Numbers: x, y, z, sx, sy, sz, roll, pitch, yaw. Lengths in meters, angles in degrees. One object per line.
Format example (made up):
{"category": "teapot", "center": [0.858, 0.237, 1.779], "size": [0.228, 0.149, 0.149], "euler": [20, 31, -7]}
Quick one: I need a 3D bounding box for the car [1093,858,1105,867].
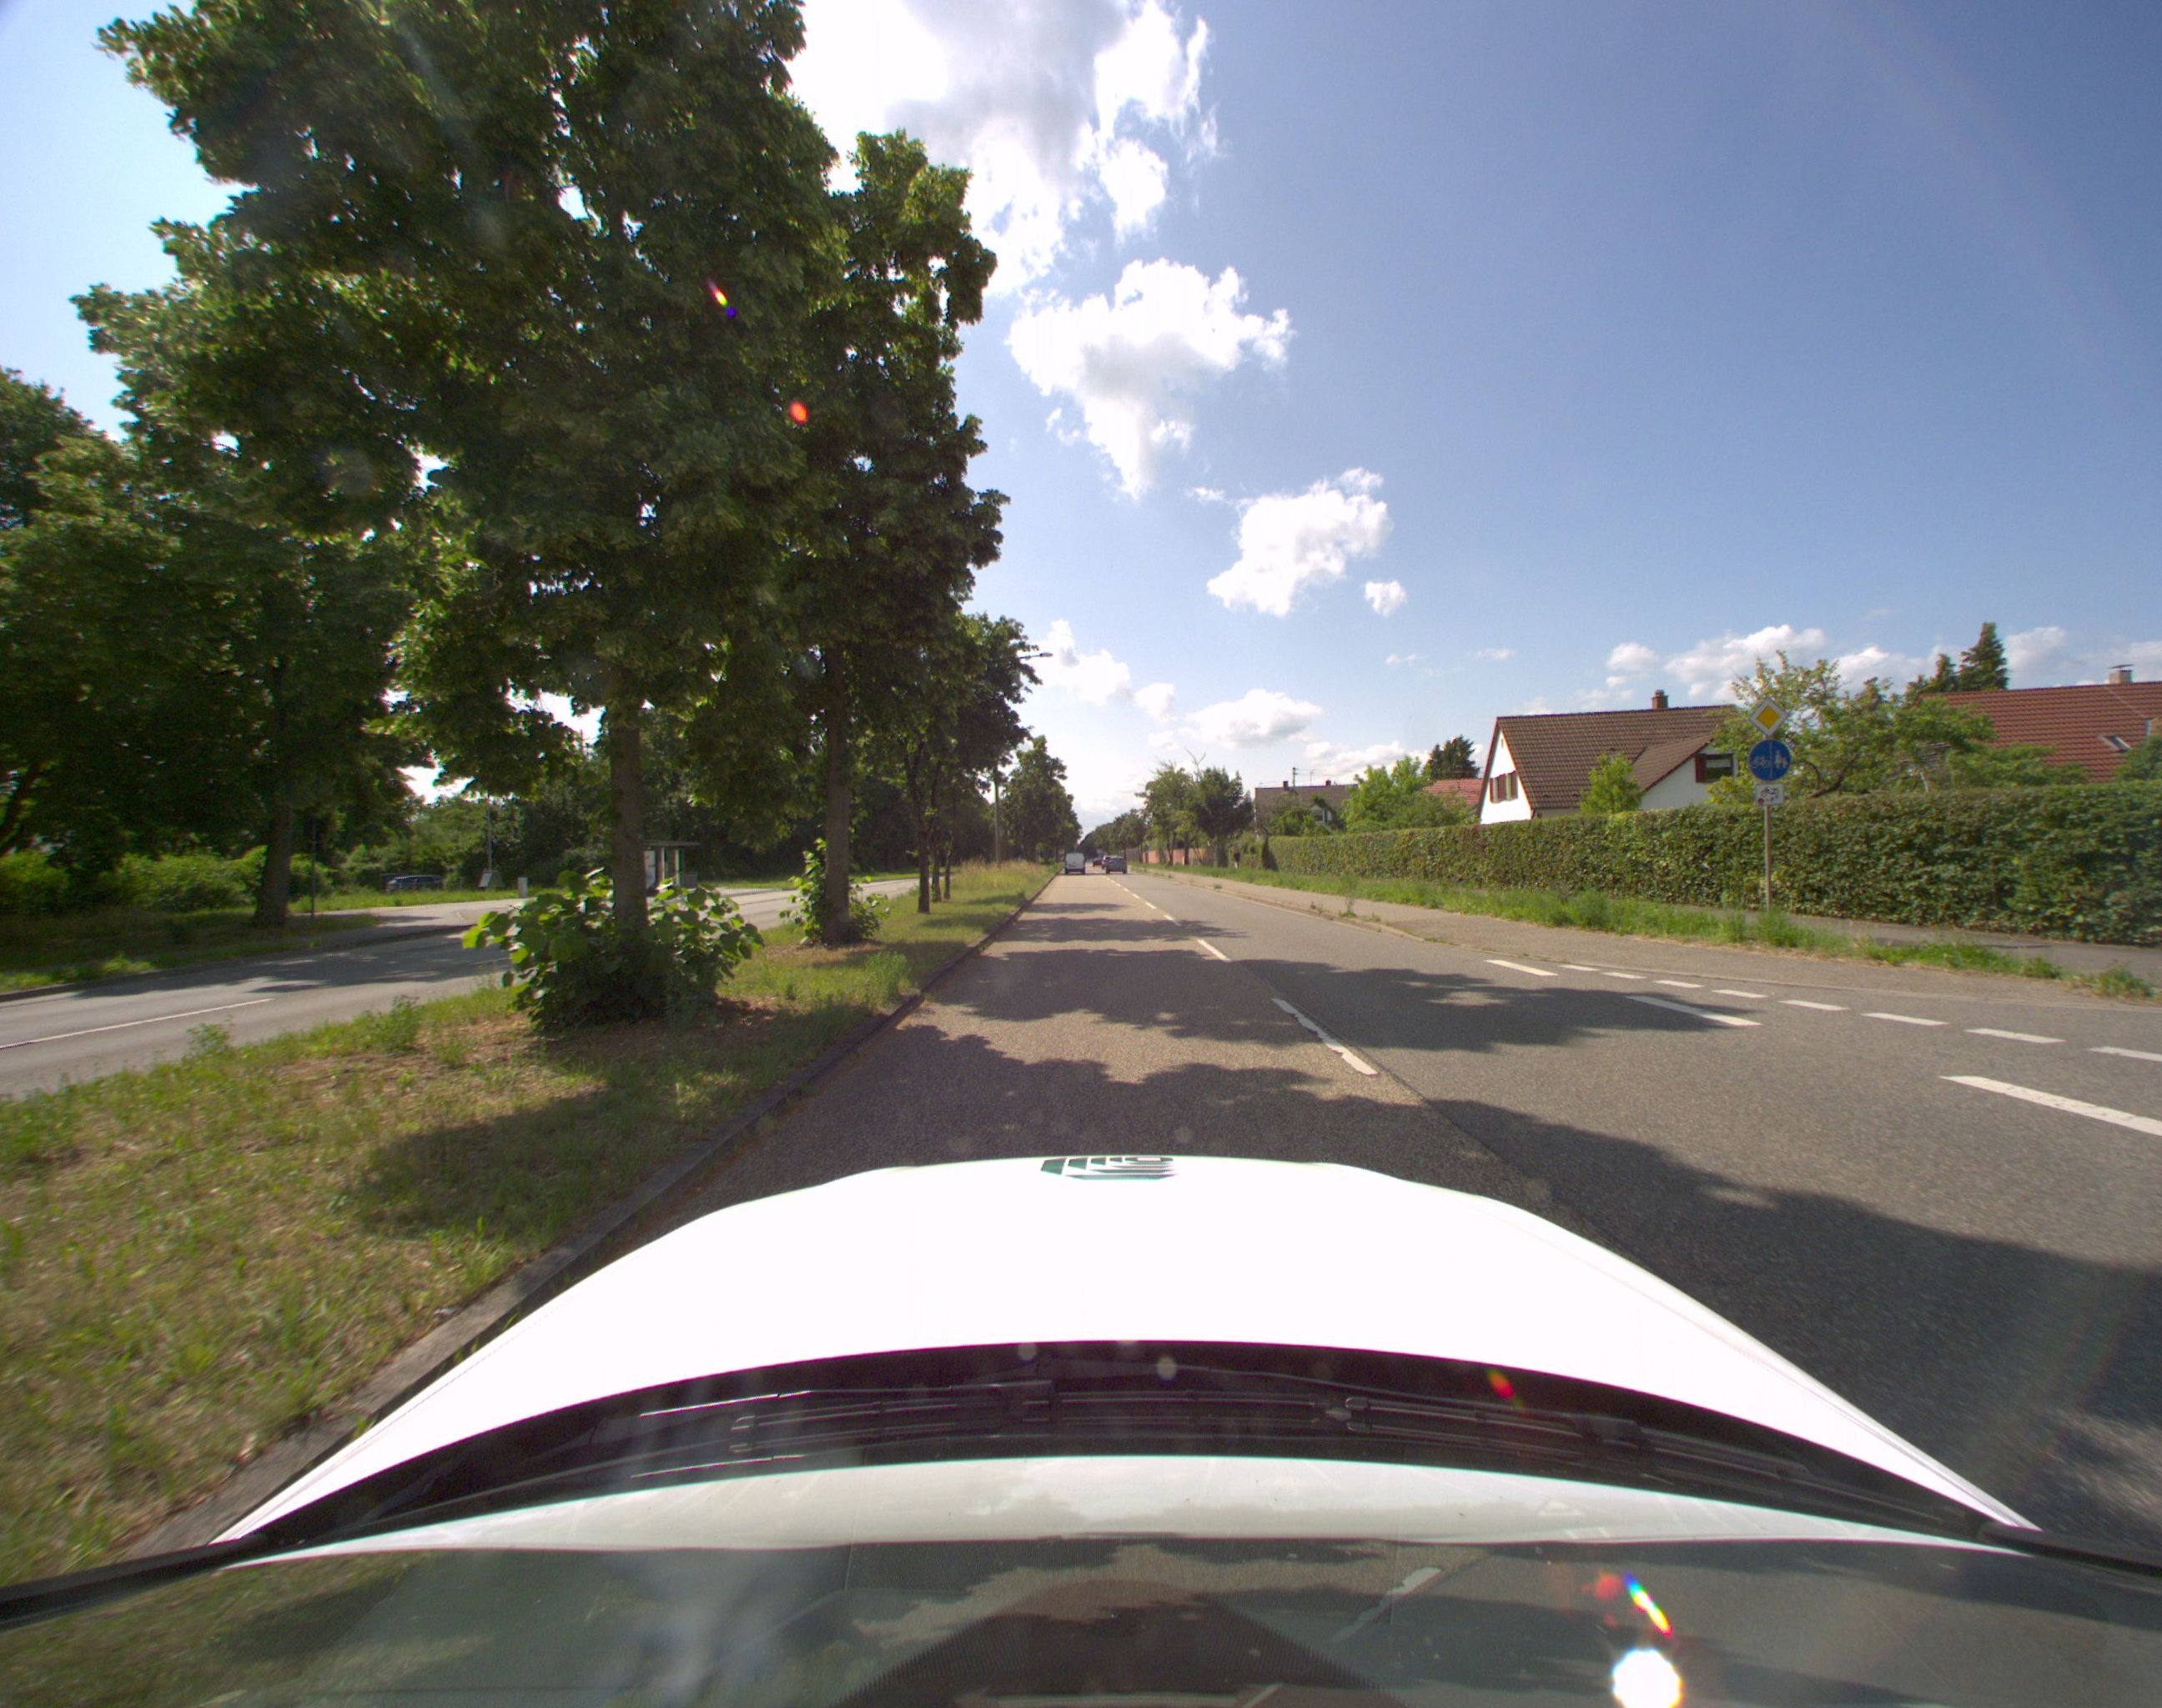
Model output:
{"category": "car", "center": [2.937, 1.405, 136.545], "size": [1.874, 1.587, 3.999], "euler": [-1, 0, -1]}

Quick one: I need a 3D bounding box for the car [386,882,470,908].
{"category": "car", "center": [-43.818, 2.716, 54.728], "size": [1.737, 1.508, 4.026], "euler": [-1, 0, 35]}

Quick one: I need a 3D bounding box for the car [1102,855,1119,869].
{"category": "car", "center": [3.575, 0.980, 98.721], "size": [1.869, 1.652, 3.999], "euler": [-1, -1, 0]}

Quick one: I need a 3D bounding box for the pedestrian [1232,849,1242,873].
{"category": "pedestrian", "center": [11.222, 0.521, 58.712], "size": [0.558, 1.677, 0.634], "euler": [-1, -1, -1]}

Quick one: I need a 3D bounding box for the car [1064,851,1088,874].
{"category": "car", "center": [-0.440, 0.767, 71.568], "size": [2.059, 1.912, 4.645], "euler": [-1, 0, -1]}

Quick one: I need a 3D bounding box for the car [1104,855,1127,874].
{"category": "car", "center": [3.087, 0.942, 73.137], "size": [1.869, 1.589, 4.183], "euler": [-1, -1, 0]}
